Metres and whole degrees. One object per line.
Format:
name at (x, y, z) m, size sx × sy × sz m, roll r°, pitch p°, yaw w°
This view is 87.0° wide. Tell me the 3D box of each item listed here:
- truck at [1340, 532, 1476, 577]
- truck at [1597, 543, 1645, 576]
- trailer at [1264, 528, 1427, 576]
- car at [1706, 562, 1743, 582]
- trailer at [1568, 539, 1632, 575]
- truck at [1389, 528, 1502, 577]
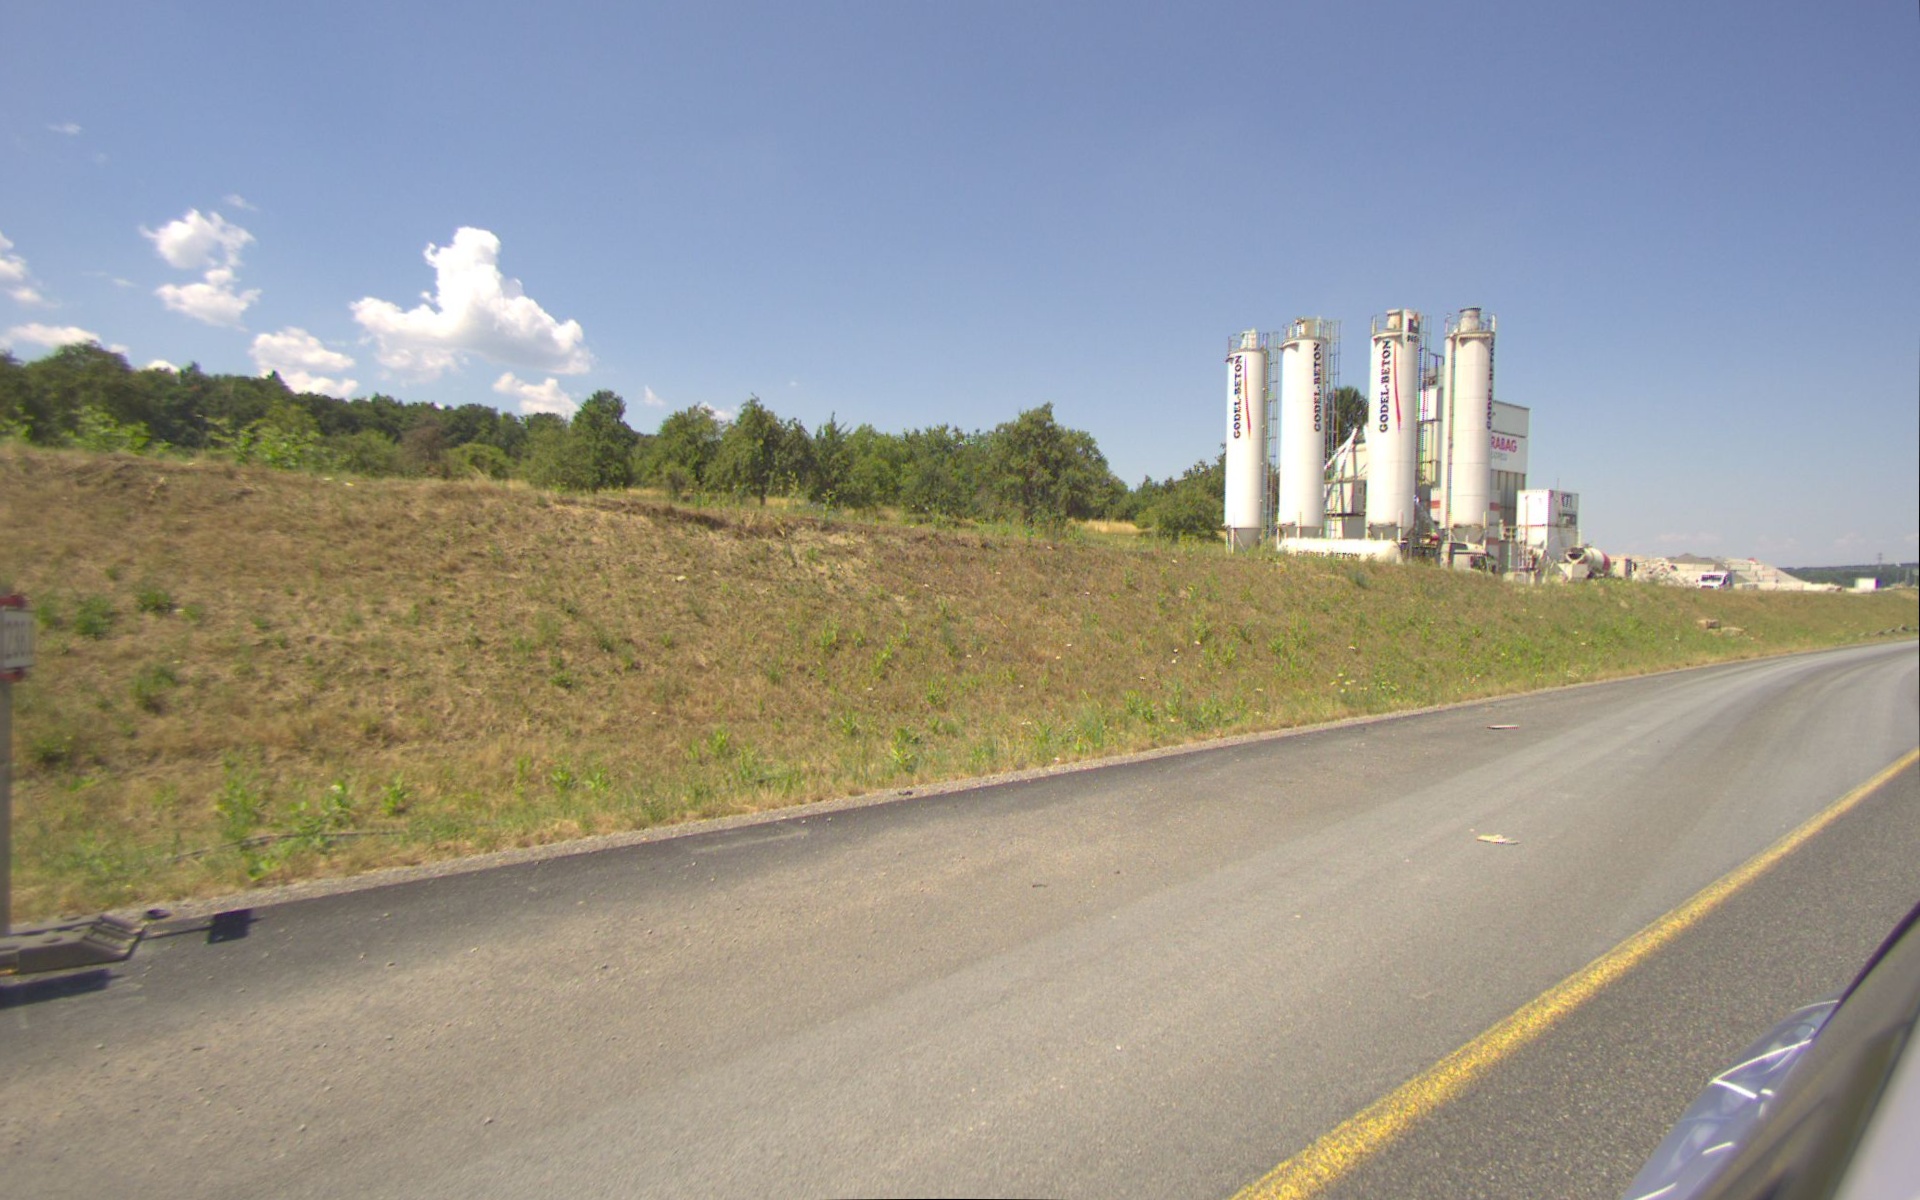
truck at (31.982, -3.142, 72.733) m, size 2.412 × 2.904 × 9.104 m, roll 0°, pitch 0°, yaw -34°
truck at (53.681, -3.234, 82.201) m, size 3.966 × 2.577 × 2.023 m, roll 0°, pitch 0°, yaw -37°
trailer at (22.770, -2.776, 60.306) m, size 2.423 × 2.639 × 8.905 m, roll 0°, pitch 1°, yaw -43°
car at (70.816, -2.534, 93.753) m, size 3.539 × 1.785 × 1.989 m, roll 0°, pitch 0°, yaw -41°
trailer at (50.612, -3.332, 79.954) m, size 6.808 × 2.678 × 1.999 m, roll 0°, pitch 0°, yaw -37°
truck at (27.361, -2.633, 57.275) m, size 5.229 × 2.576 × 2.893 m, roll 0°, pitch 0°, yaw 14°
